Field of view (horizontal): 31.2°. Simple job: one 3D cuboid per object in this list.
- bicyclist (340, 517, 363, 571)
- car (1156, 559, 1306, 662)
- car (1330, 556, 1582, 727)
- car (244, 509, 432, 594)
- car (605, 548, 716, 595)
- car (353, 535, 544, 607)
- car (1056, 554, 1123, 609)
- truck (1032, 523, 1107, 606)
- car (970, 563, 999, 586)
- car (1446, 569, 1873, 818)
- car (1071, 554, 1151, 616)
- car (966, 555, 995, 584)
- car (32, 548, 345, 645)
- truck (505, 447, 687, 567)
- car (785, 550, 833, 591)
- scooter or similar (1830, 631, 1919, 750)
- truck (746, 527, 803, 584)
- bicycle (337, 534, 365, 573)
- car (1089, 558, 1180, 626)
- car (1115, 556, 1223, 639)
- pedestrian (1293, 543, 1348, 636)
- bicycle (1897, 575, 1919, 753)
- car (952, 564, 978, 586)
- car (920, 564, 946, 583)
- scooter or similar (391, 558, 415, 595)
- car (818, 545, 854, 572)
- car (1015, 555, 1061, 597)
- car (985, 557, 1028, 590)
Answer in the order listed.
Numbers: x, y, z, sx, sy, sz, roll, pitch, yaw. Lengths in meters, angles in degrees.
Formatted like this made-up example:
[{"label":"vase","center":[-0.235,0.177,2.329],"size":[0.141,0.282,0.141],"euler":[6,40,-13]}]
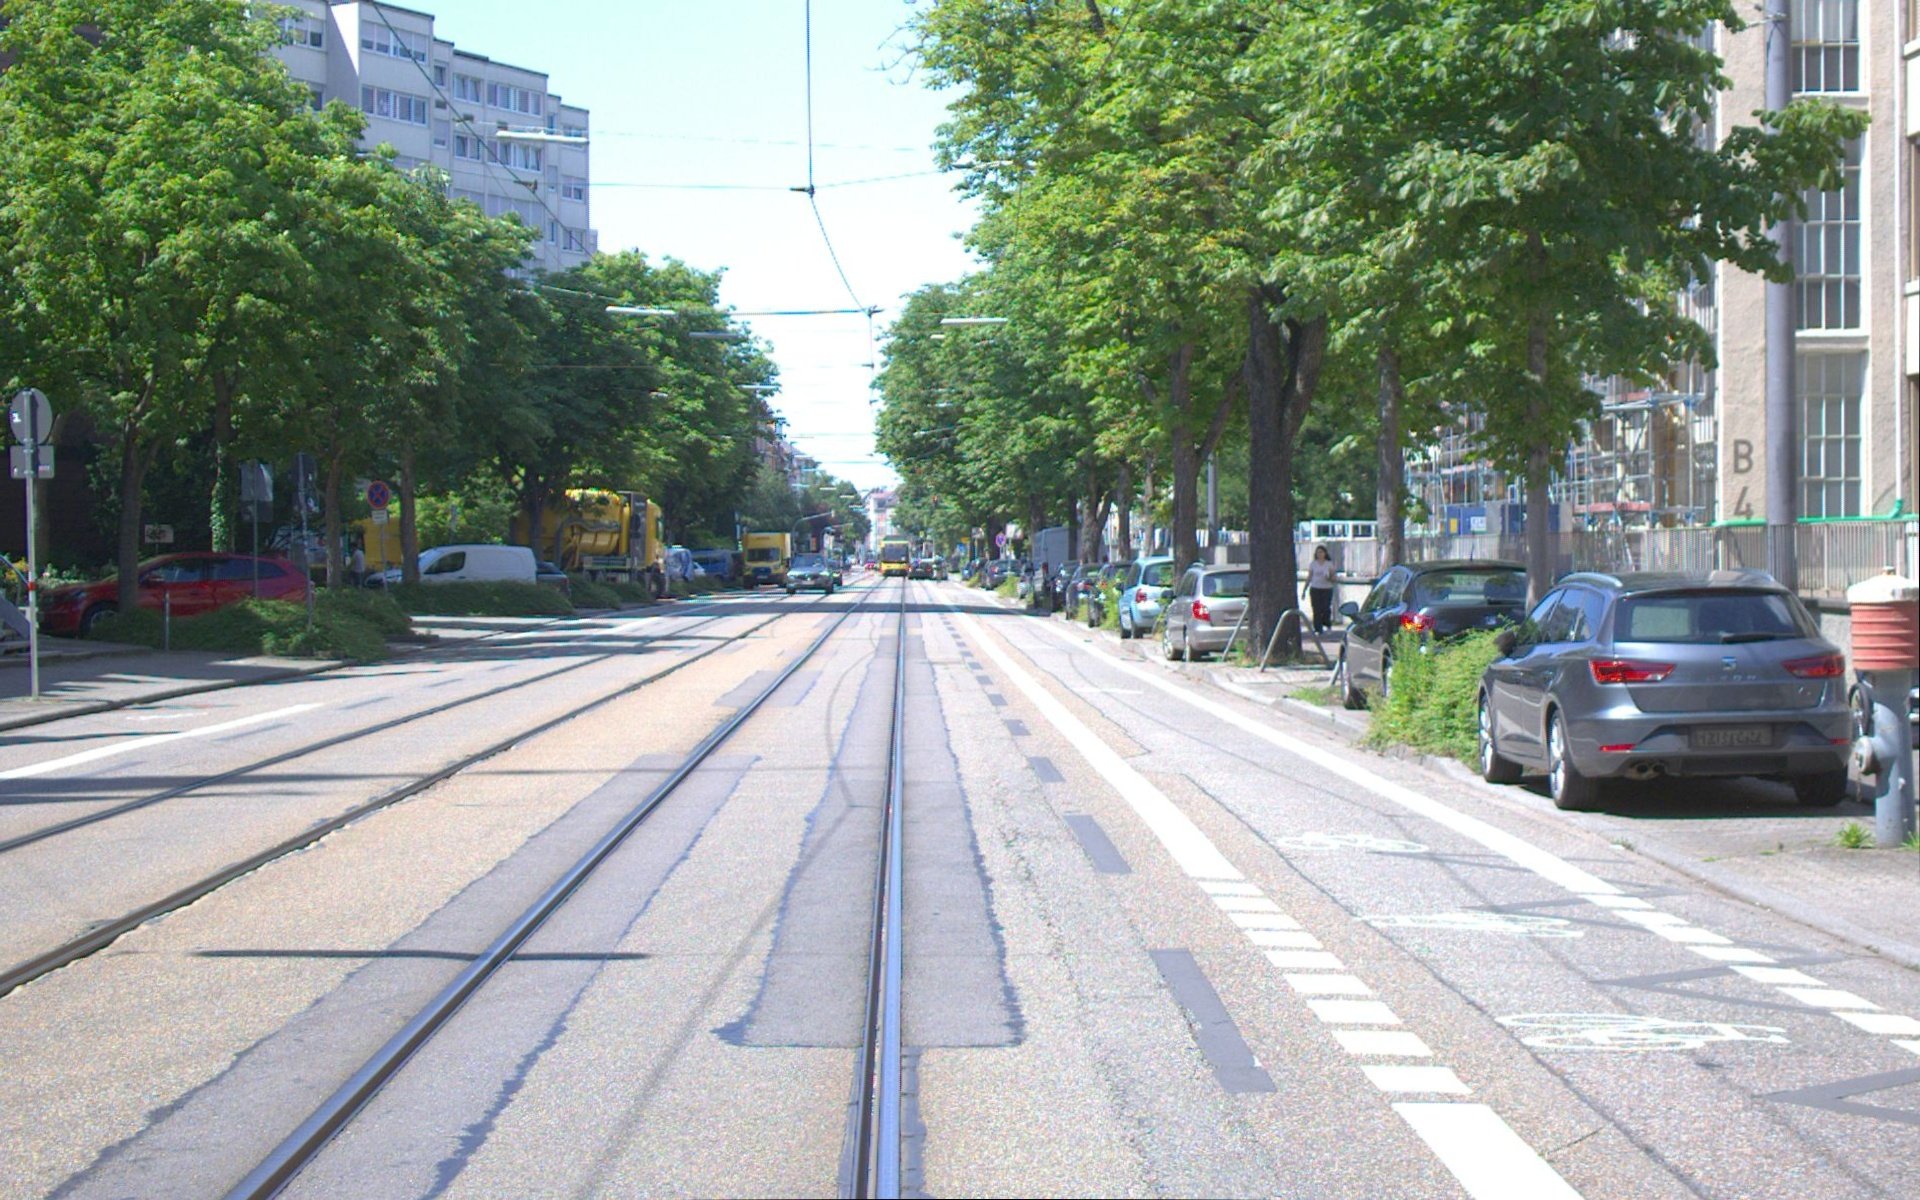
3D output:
[{"label":"bicyclist","center":[-16.774,-1.544,94.781],"size":[0.480,1.476,0.781],"euler":[1,1,-3]},{"label":"car","center":[4.090,0.129,52.434],"size":[1.671,1.494,4.366],"euler":[0,1,-4]},{"label":"car","center":[4.558,0.338,32.067],"size":[1.671,1.484,3.981],"euler":[0,1,-2]},{"label":"car","center":[-20.116,-1.545,111.551],"size":[2.182,2.557,6.713],"euler":[0,-1,29]},{"label":"car","center":[-12.990,-1.254,149.347],"size":[1.920,1.928,4.745],"euler":[-2,0,42]},{"label":"car","center":[-13.394,-0.761,90.018],"size":[4.534,1.785,1.901],"euler":[1,1,-33]},{"label":"car","center":[3.601,-0.533,96.110],"size":[1.824,1.466,4.400],"euler":[0,1,2]},{"label":"truck","center":[3.366,-1.117,106.621],"size":[2.014,2.480,5.956],"euler":[0,1,-1]},{"label":"car","center":[1.543,-1.618,220.431],"size":[1.710,1.418,4.310],"euler":[-1,0,-1]},{"label":"car","center":[4.372,0.517,22.214],"size":[1.671,1.403,4.749],"euler":[0,1,-2]},{"label":"car","center":[3.702,-0.390,85.135],"size":[1.824,1.466,4.486],"euler":[0,1,1]},{"label":"car","center":[1.175,-1.780,201.235],"size":[1.592,1.611,3.908],"euler":[-1,0,-1]},{"label":"car","center":[-12.927,-0.068,57.659],"size":[4.764,1.561,2.002],"euler":[0,1,-29]},{"label":"truck","center":[-12.566,-3.150,119.914],"size":[2.717,3.828,10.957],"euler":[1,0,13]},{"label":"car","center":[-6.253,-1.229,142.326],"size":[1.831,1.675,4.185],"euler":[0,1,-1]},{"label":"scooter or similar","center":[7.126,0.663,25.793],"size":[0.761,0.804,1.556],"euler":[-2,1,-1]},{"label":"truck","center":[-9.479,-2.290,175.931],"size":[2.360,2.843,7.378],"euler":[-1,1,1]},{"label":"bicycle","center":[-16.787,-1.287,94.792],"size":[0.518,1.043,1.876],"euler":[1,1,-3]},{"label":"car","center":[3.787,-0.201,75.030],"size":[1.671,1.433,4.042],"euler":[0,1,-2]},{"label":"car","center":[3.943,-0.081,65.357],"size":[1.671,1.512,4.202],"euler":[0,1,-2]},{"label":"pedestrian","center":[6.288,-0.187,59.991],"size":[0.799,1.583,0.919],"euler":[-2,1,-2]},{"label":"bicycle","center":[7.128,0.459,24.115],"size":[0.555,1.261,1.774],"euler":[-3,1,-1]},{"label":"car","center":[0.360,-1.727,238.764],"size":[1.710,1.418,4.310],"euler":[-1,0,-1]},{"label":"car","center":[-1.935,-1.927,246.507],"size":[1.781,1.341,3.416],"euler":[0,1,0]},{"label":"scooter or similar","center":[-17.095,-0.732,105.519],"size":[0.383,1.120,1.369],"euler":[1,1,4]},{"label":"car","center":[-6.614,-2.199,183.319],"size":[1.774,1.392,4.287],"euler":[-1,1,-1]},{"label":"car","center":[2.862,-0.894,126.258],"size":[1.644,1.529,3.785],"euler":[0,1,1]},{"label":"car","center":[2.155,-1.237,160.143],"size":[1.639,1.480,3.873],"euler":[-1,0,-4]}]
